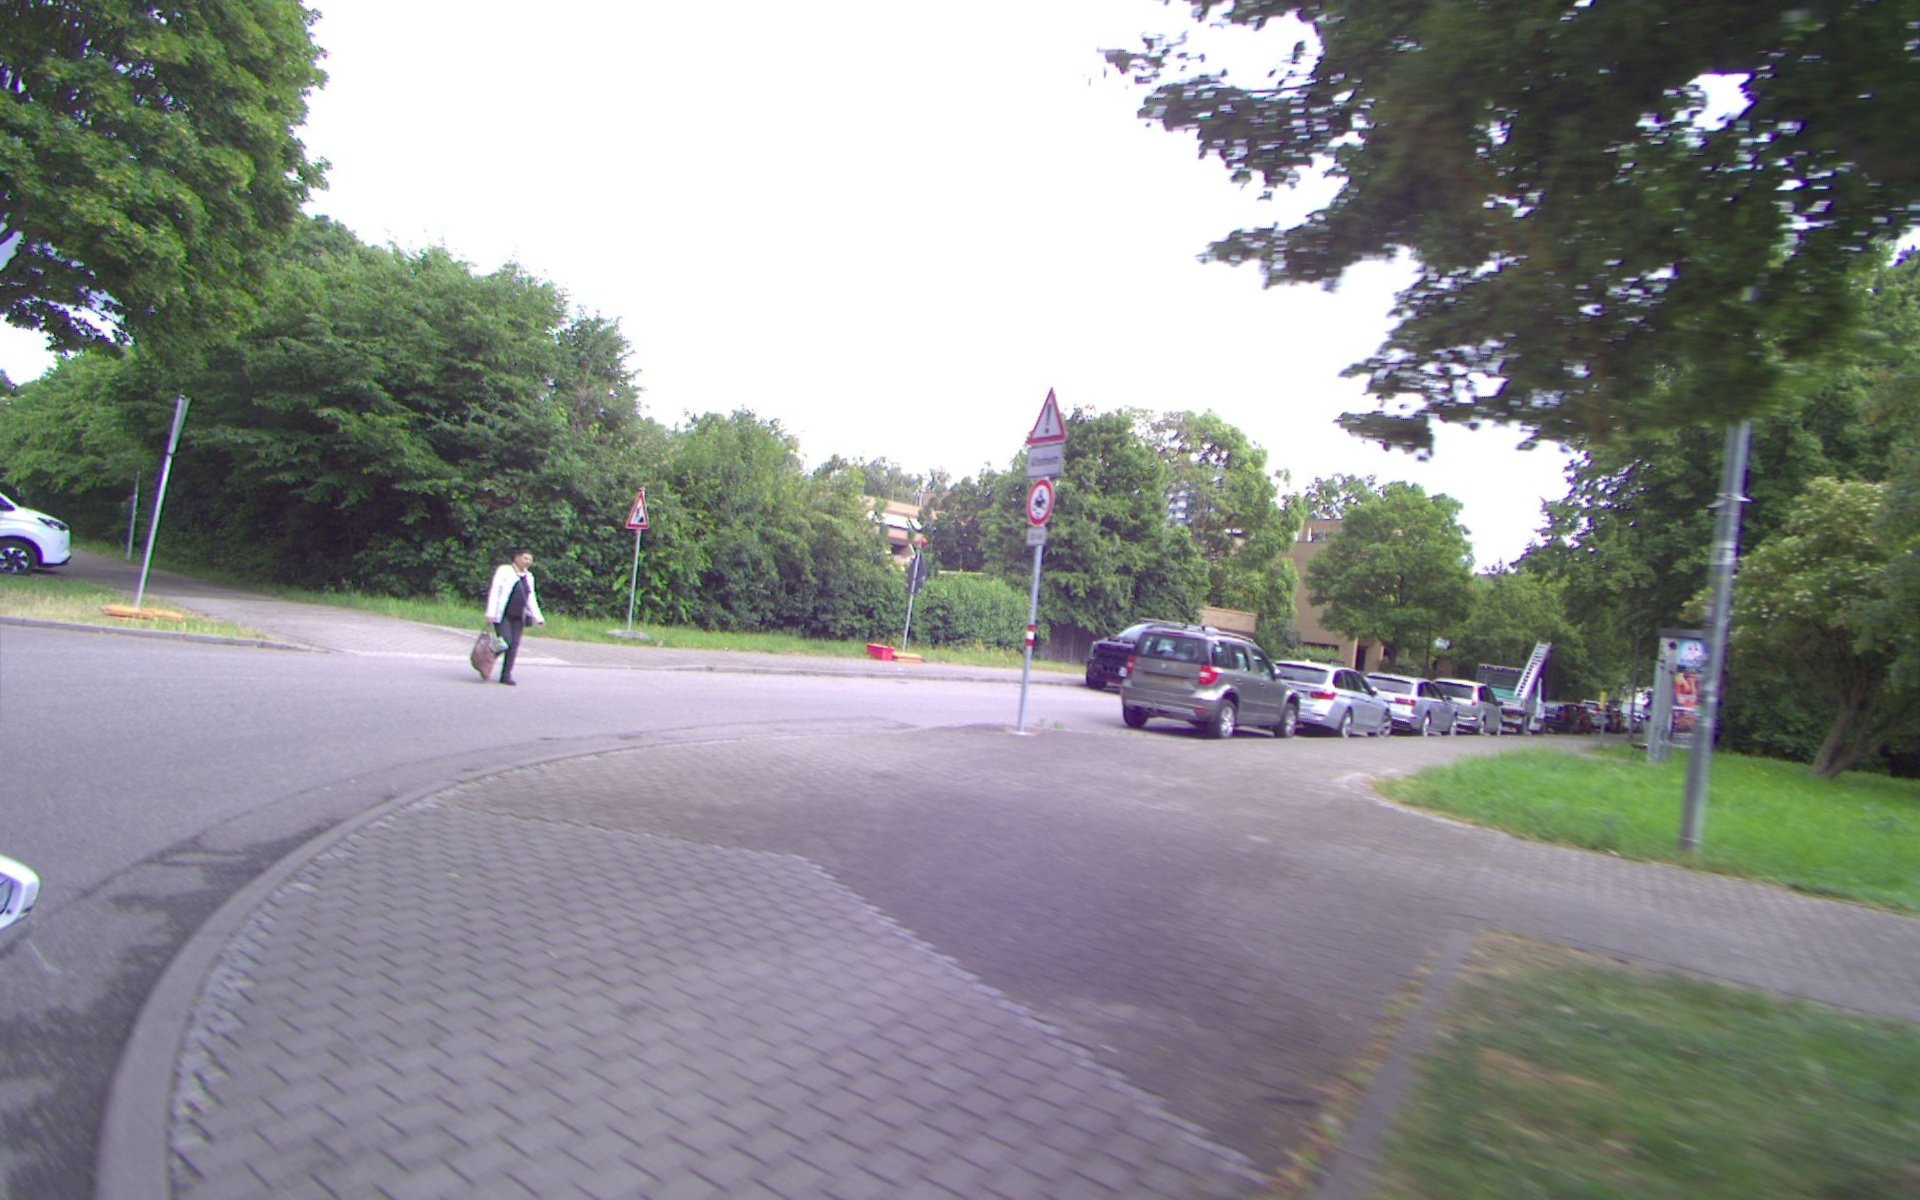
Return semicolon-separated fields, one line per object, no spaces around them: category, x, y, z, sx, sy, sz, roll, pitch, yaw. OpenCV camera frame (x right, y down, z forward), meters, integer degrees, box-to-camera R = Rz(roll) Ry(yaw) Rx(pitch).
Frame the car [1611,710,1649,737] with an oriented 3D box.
car;46.459;8.557;69.720;1.678;1.544;4.280;6;-1;39

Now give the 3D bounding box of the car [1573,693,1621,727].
car;36.160;6.264;57.069;1.678;1.649;4.280;6;-1;39

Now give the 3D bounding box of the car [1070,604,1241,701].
car;5.327;1.458;26.789;2.106;2.081;5.317;6;-1;39

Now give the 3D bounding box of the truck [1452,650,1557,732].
truck;19.427;3.272;35.765;2.161;2.455;5.504;6;-1;39

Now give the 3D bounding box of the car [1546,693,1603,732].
car;29.715;5.436;48.590;1.678;1.544;4.280;6;-1;39

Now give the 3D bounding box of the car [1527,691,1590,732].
car;26.567;4.946;44.601;1.678;1.544;4.280;6;-1;39

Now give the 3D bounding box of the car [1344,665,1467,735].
car;11.433;2.558;25.660;1.678;1.445;4.426;6;-1;39

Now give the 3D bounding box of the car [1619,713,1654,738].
car;49.631;9.214;73.795;1.678;1.544;4.280;6;-1;39

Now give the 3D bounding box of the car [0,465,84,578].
car;-19.158;-1.643;17.926;1.817;1.997;4.974;6;1;33

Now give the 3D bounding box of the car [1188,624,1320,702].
car;9.696;2.123;32.838;2.106;2.081;5.317;6;-1;39

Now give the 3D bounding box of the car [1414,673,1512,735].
car;15.344;3.173;30.581;1.678;1.544;4.280;6;-1;39

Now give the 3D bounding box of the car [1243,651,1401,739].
car;7.547;1.970;20.700;1.678;1.445;4.391;6;-1;38

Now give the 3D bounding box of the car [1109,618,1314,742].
car;4.308;1.355;16.866;1.742;1.688;3.776;6;-1;40

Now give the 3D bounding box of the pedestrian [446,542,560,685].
pedestrian;-5.486;0.169;12.082;0.797;1.595;0.834;6;0;38
